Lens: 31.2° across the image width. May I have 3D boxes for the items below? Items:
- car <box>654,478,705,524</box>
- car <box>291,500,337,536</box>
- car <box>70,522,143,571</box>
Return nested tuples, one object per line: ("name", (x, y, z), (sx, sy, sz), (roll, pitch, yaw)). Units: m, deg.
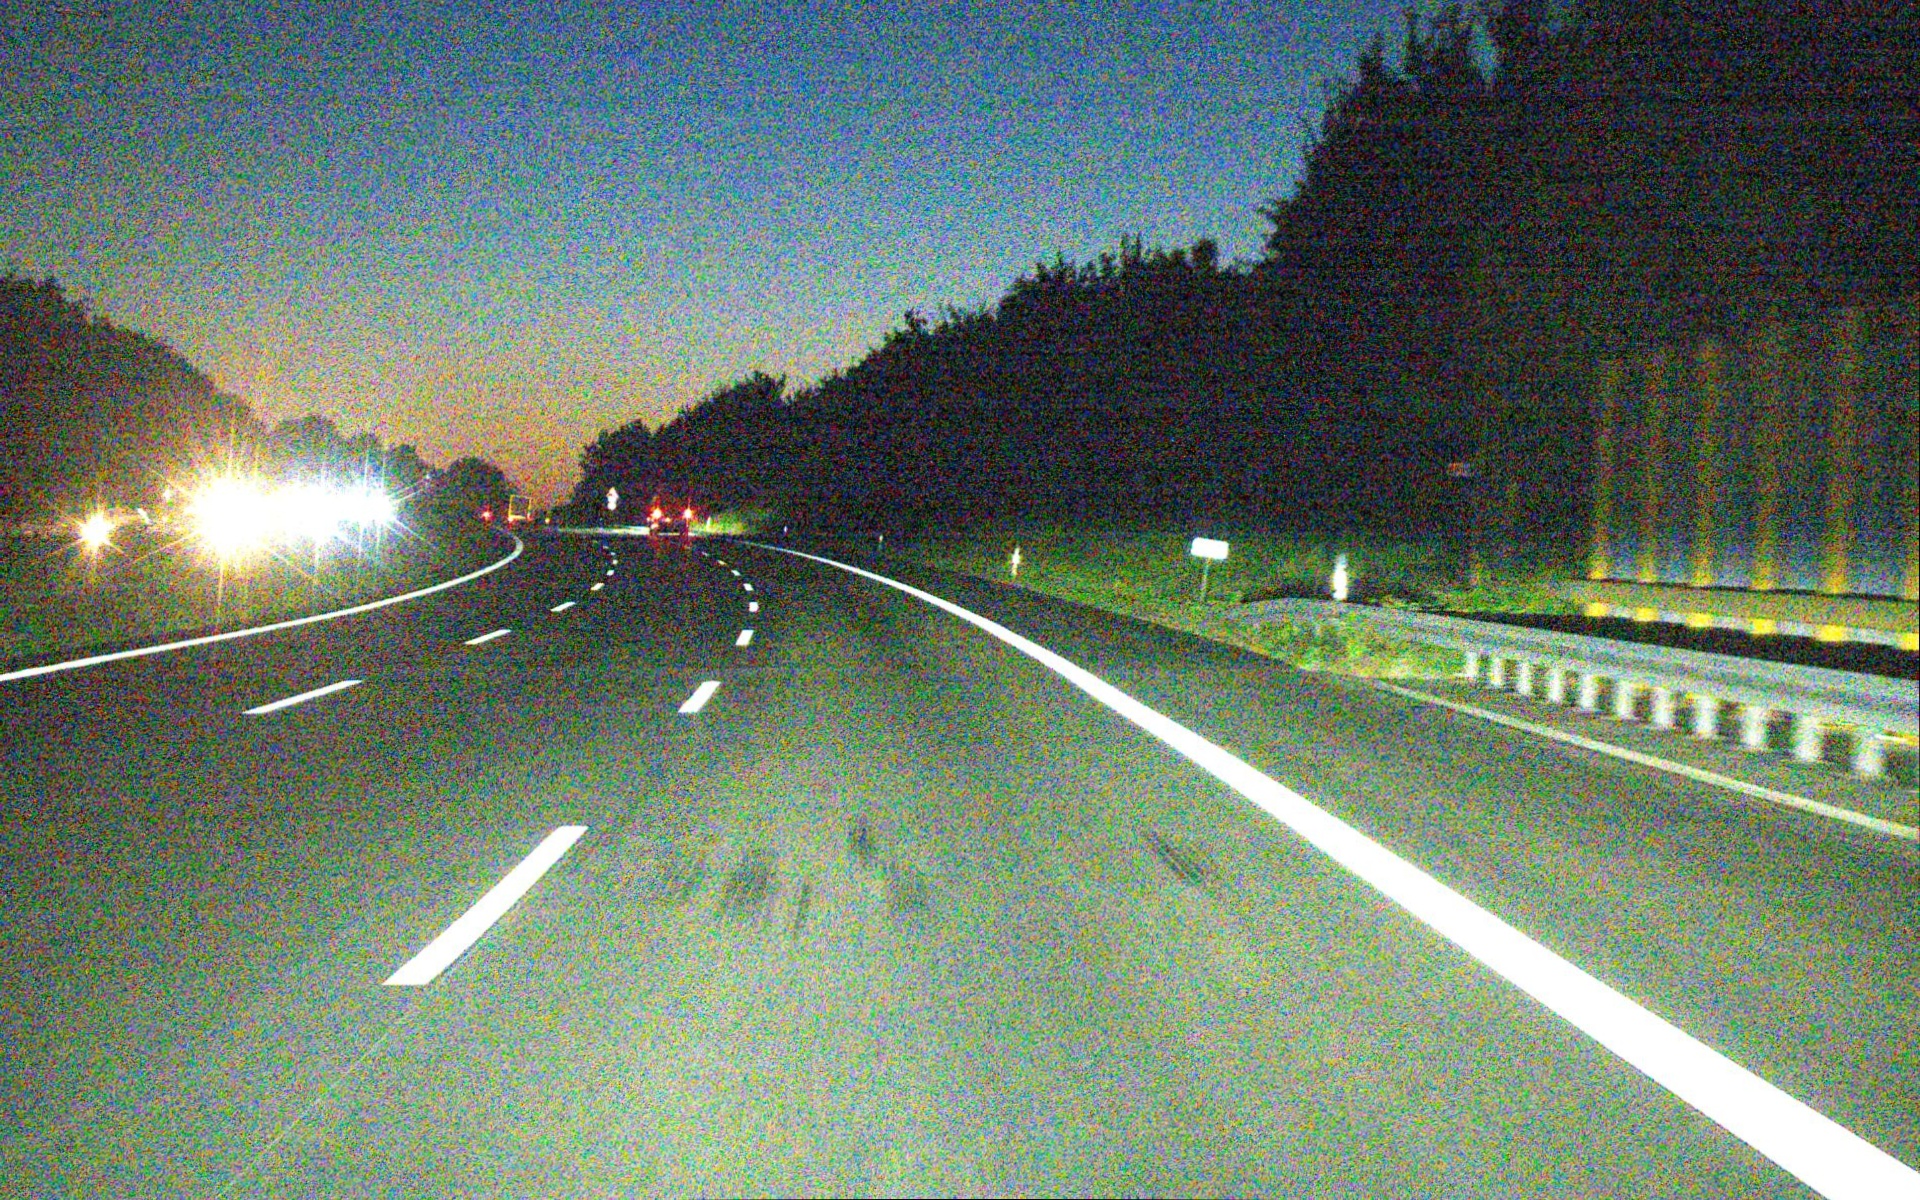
("car", (-16.751, -5.887, 204.976), (2.527, 2.544, 6.053), (3, 1, -8))
("car", (-33.679, -4.276, 179.278), (1.993, 1.848, 4.078), (0, 2, -6))
("car", (-30.905, -1.940, 124.539), (1.993, 1.720, 4.078), (0, 2, -6))
